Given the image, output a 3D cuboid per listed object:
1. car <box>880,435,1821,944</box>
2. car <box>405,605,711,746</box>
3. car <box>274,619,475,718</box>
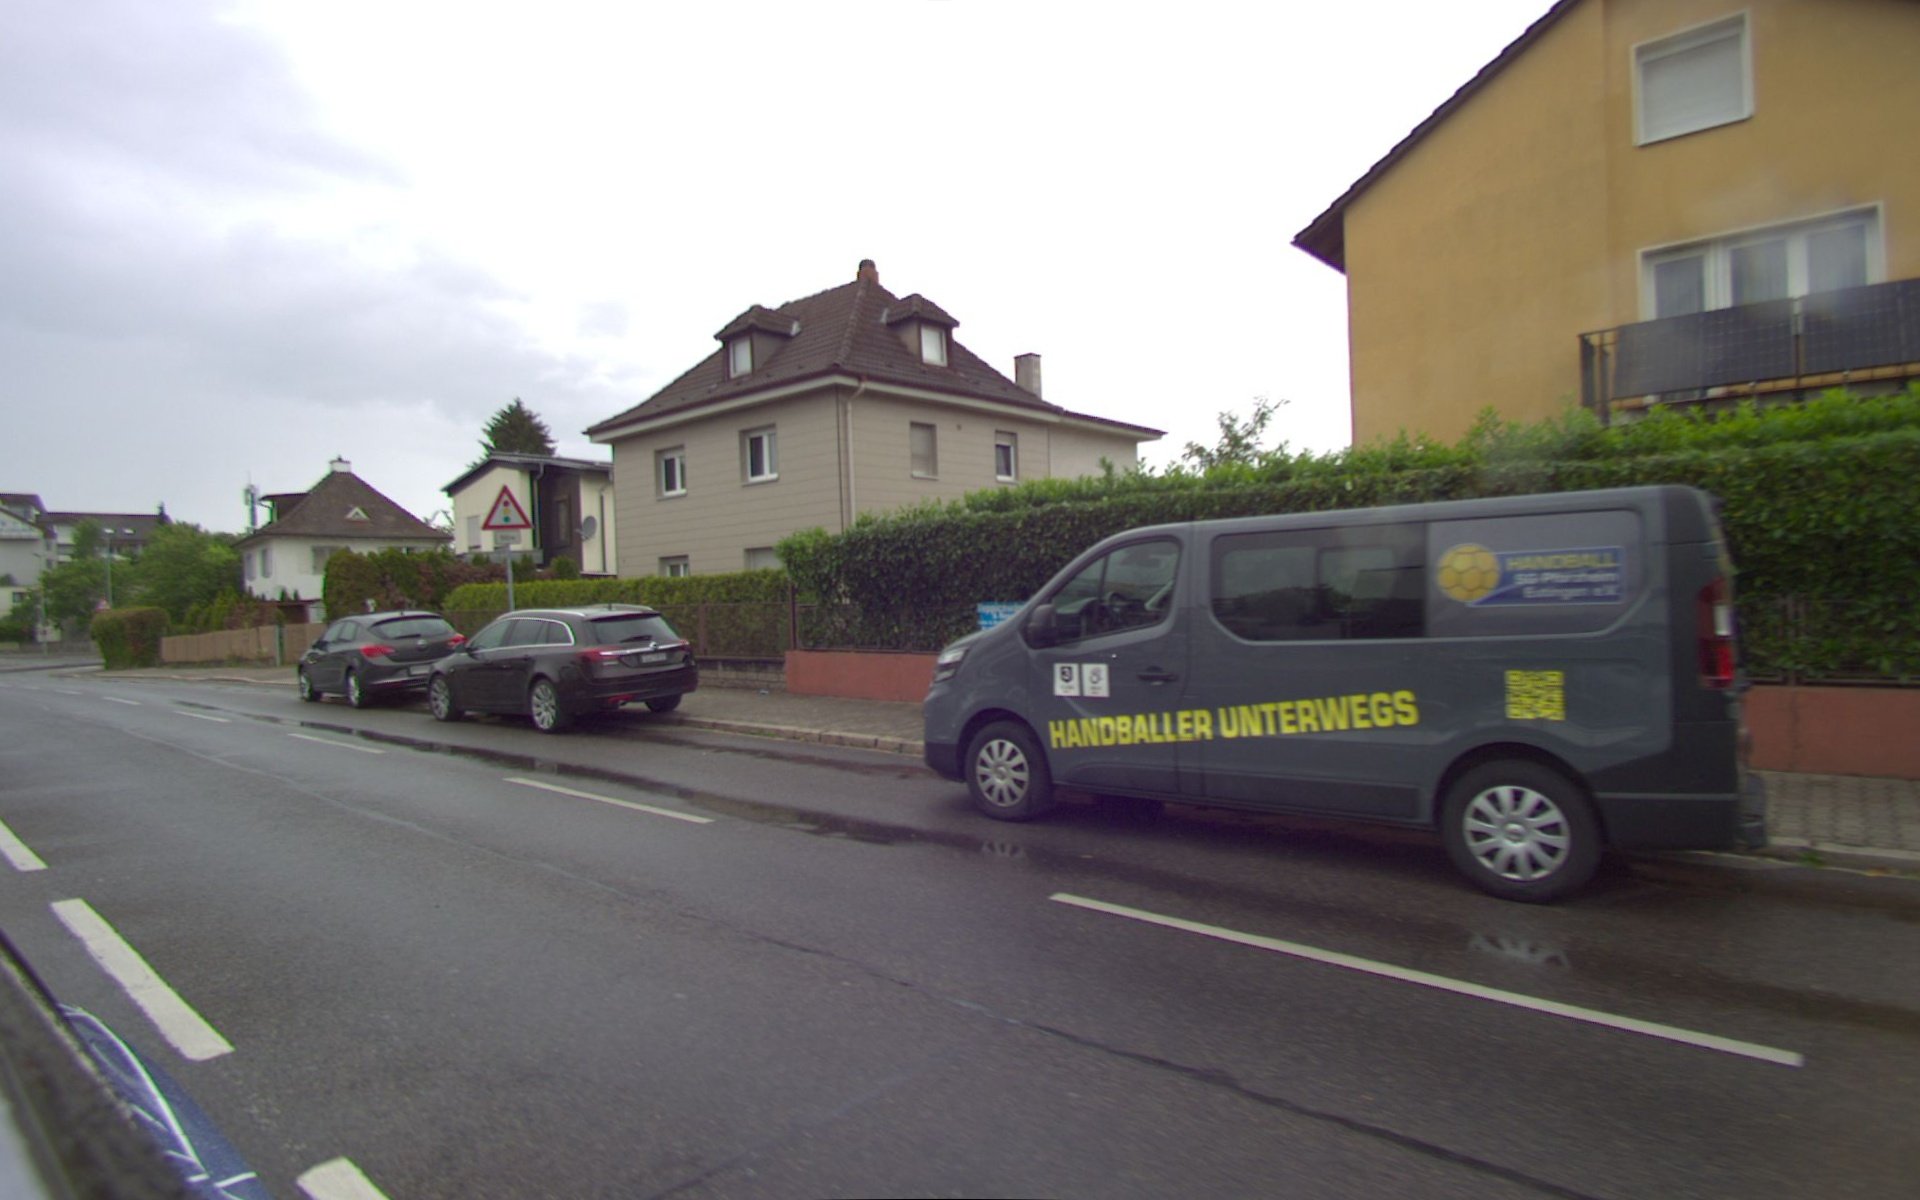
[{"bbox_3d":[2.005,0.386,6.364,5.082,2.018,1.894,-1,0,39],"label":"car"},{"bbox_3d":[-5.397,0.880,13.292,4.523,1.528,1.733,-1,0,39],"label":"car"},{"bbox_3d":[-10.137,1.097,17.402,4.128,1.450,1.732,-1,0,41],"label":"car"}]
